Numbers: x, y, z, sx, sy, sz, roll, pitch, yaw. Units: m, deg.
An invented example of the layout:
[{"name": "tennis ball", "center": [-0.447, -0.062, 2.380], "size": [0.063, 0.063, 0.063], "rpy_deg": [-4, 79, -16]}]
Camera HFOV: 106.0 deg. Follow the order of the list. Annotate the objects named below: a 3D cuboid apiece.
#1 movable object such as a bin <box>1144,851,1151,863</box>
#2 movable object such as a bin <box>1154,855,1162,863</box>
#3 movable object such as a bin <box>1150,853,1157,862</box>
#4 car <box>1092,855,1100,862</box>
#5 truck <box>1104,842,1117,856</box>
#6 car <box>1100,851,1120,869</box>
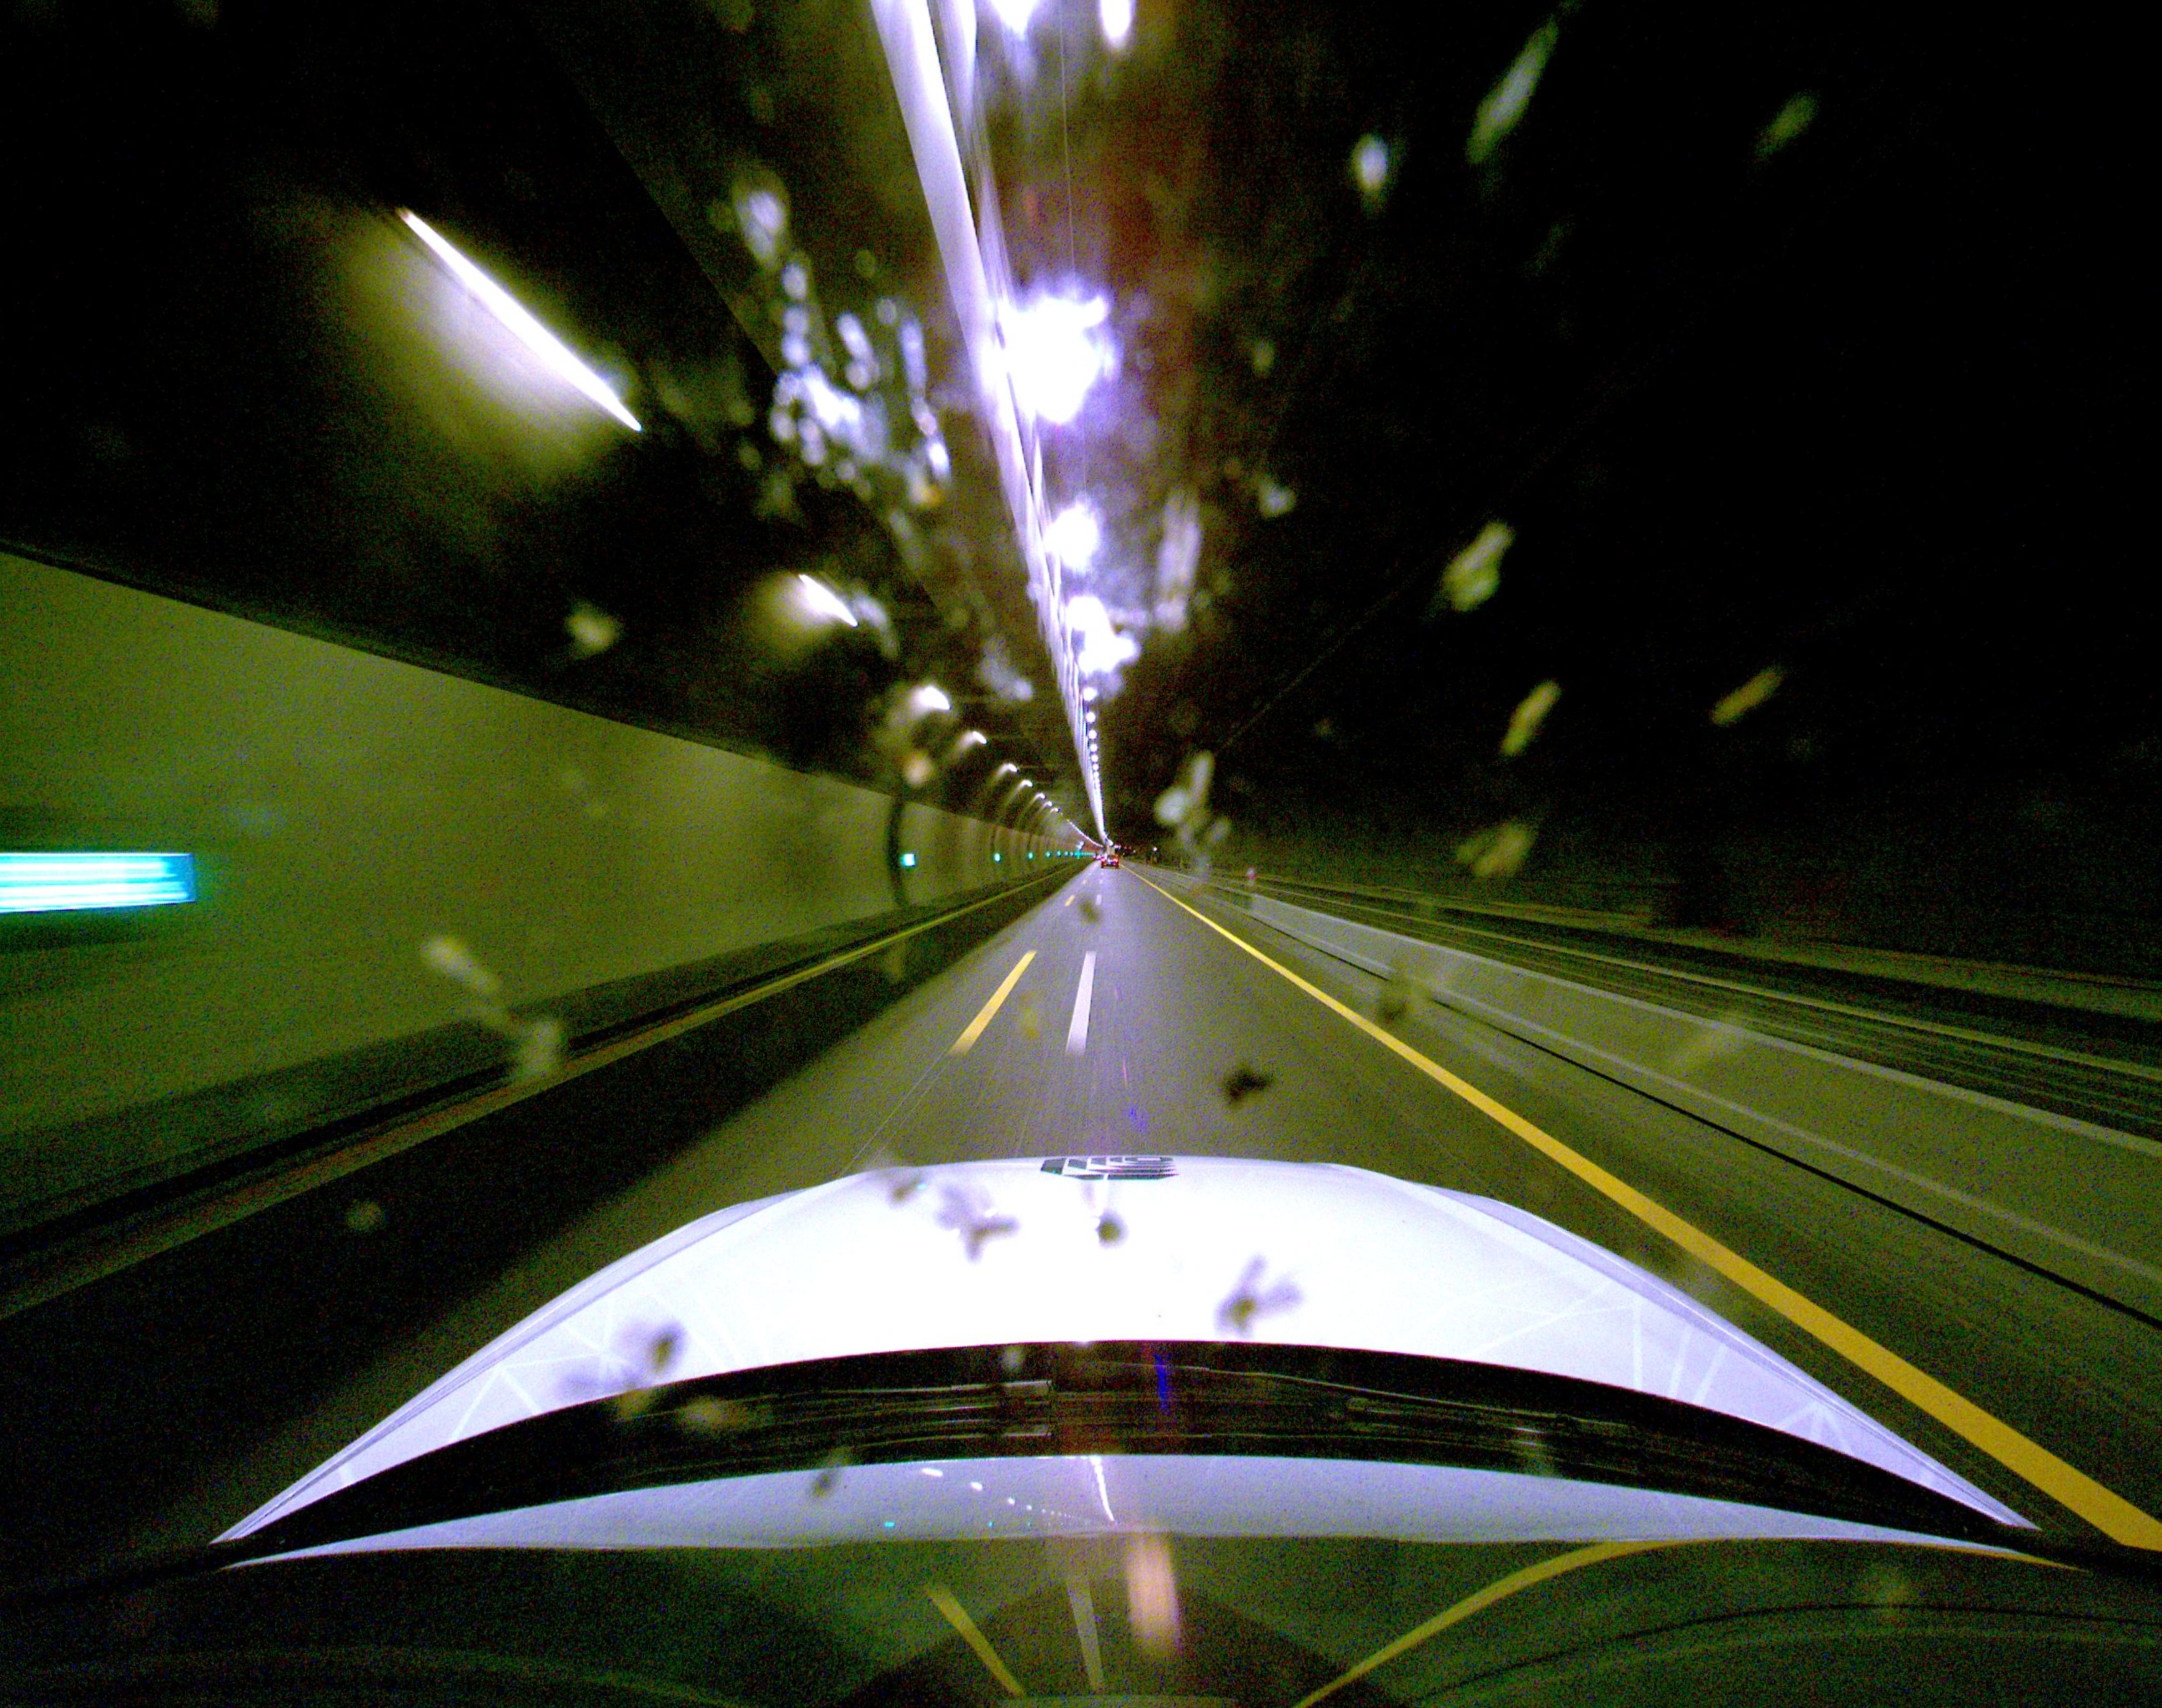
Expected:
[{"name": "movable object such as a bin", "center": [12.928, 0.560, 157.685], "size": [1.230, 2.141, 2.217], "rpy_deg": [1, 0, 1]}, {"name": "movable object such as a bin", "center": [13.177, 0.880, 139.718], "size": [1.230, 1.442, 2.217], "rpy_deg": [1, 0, 1]}, {"name": "movable object such as a bin", "center": [13.424, 0.612, 151.041], "size": [1.230, 1.718, 2.217], "rpy_deg": [1, 0, 1]}, {"name": "car", "center": [3.643, 1.045, 196.523], "size": [1.923, 1.687, 4.002], "rpy_deg": [-1, 0, 2]}, {"name": "truck", "center": [9.772, -1.629, 267.427], "size": [4.051, 4.532, 14.971], "rpy_deg": [-1, 0, 2]}, {"name": "car", "center": [3.060, 0.622, 86.321], "size": [1.940, 1.794, 4.001], "rpy_deg": [-1, 0, 1]}]
